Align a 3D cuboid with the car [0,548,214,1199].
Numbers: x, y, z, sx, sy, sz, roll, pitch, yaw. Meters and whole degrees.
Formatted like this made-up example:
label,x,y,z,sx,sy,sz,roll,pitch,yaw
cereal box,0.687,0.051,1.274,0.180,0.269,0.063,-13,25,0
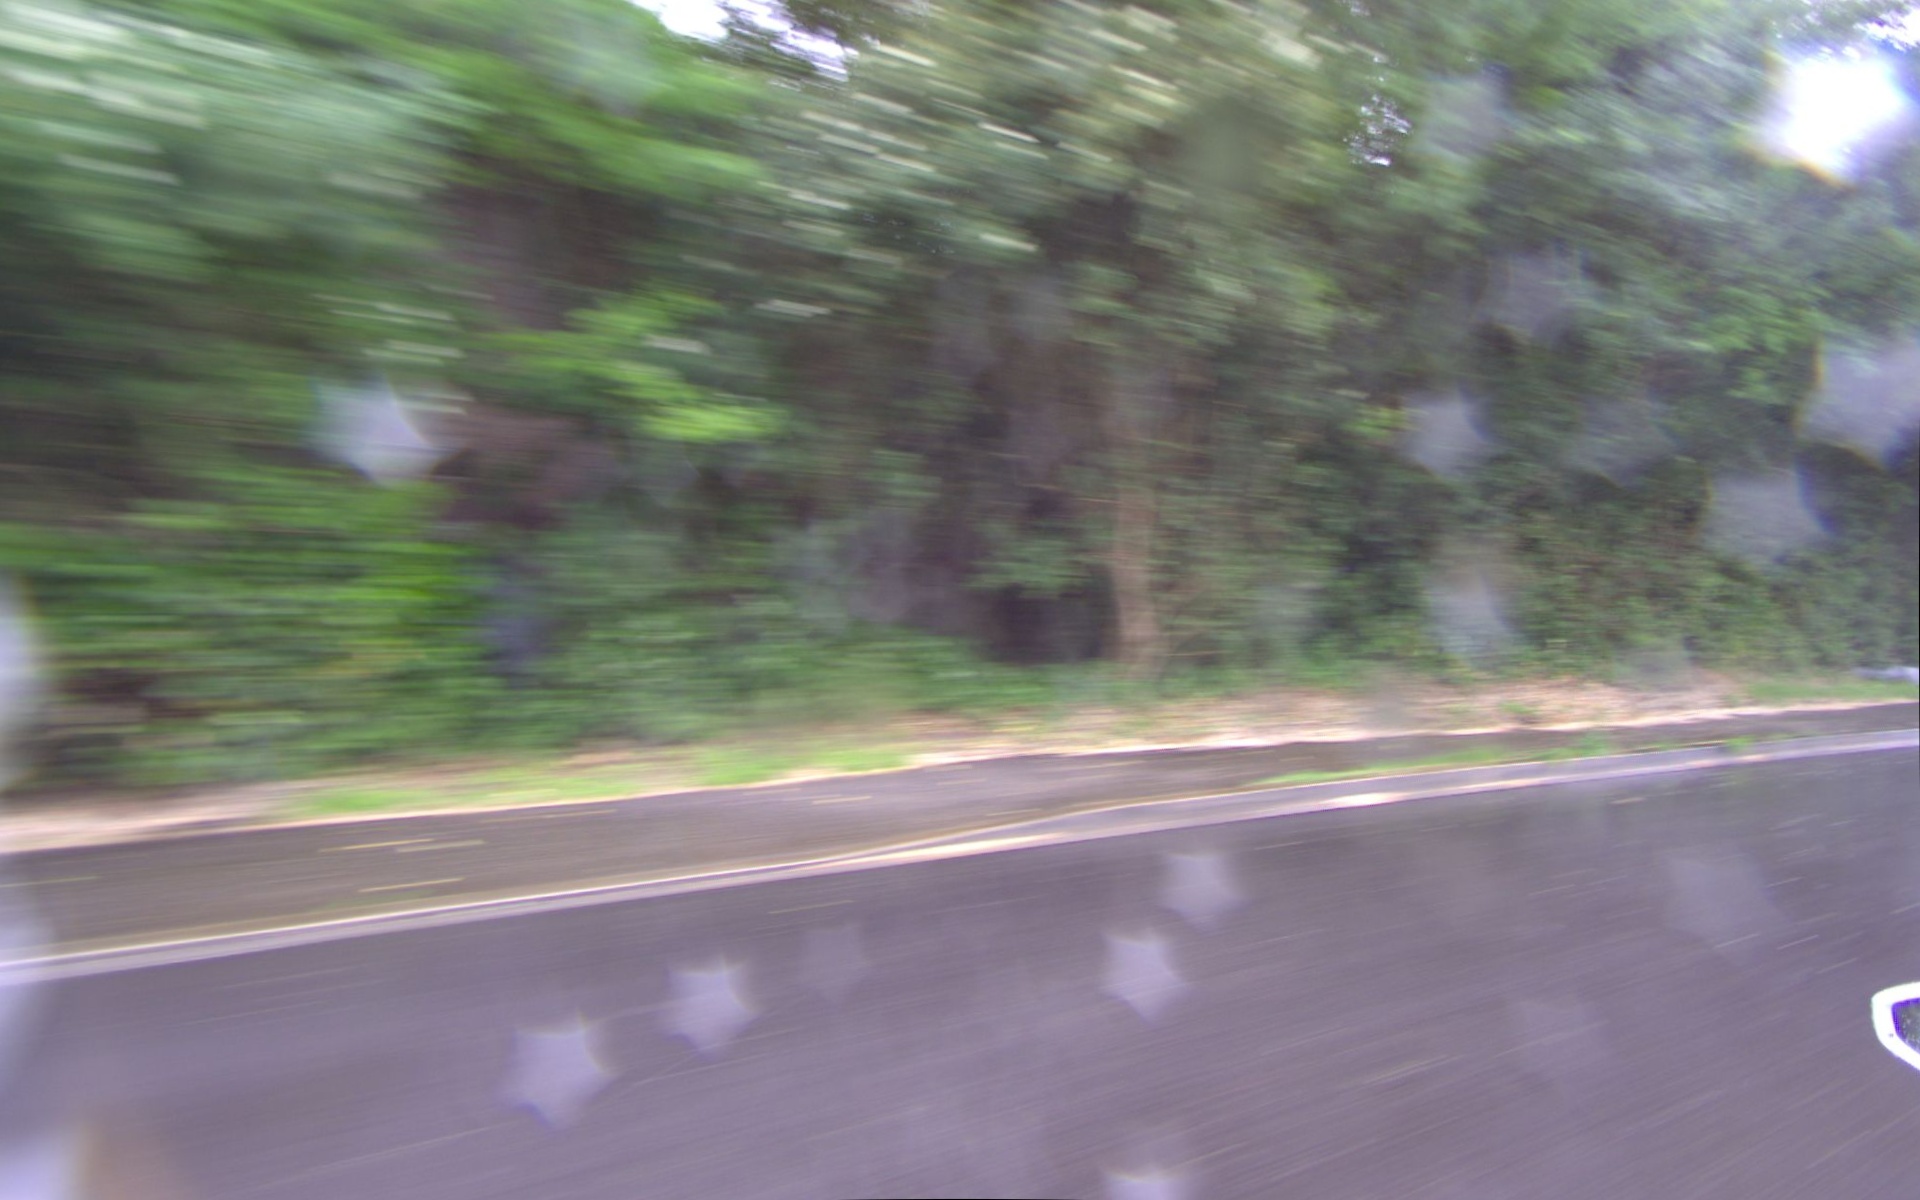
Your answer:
label,x,y,z,sx,sy,sz,roll,pitch,yaw
car,-3.797,0.611,1.100,4.579,1.438,1.778,1,0,-31
